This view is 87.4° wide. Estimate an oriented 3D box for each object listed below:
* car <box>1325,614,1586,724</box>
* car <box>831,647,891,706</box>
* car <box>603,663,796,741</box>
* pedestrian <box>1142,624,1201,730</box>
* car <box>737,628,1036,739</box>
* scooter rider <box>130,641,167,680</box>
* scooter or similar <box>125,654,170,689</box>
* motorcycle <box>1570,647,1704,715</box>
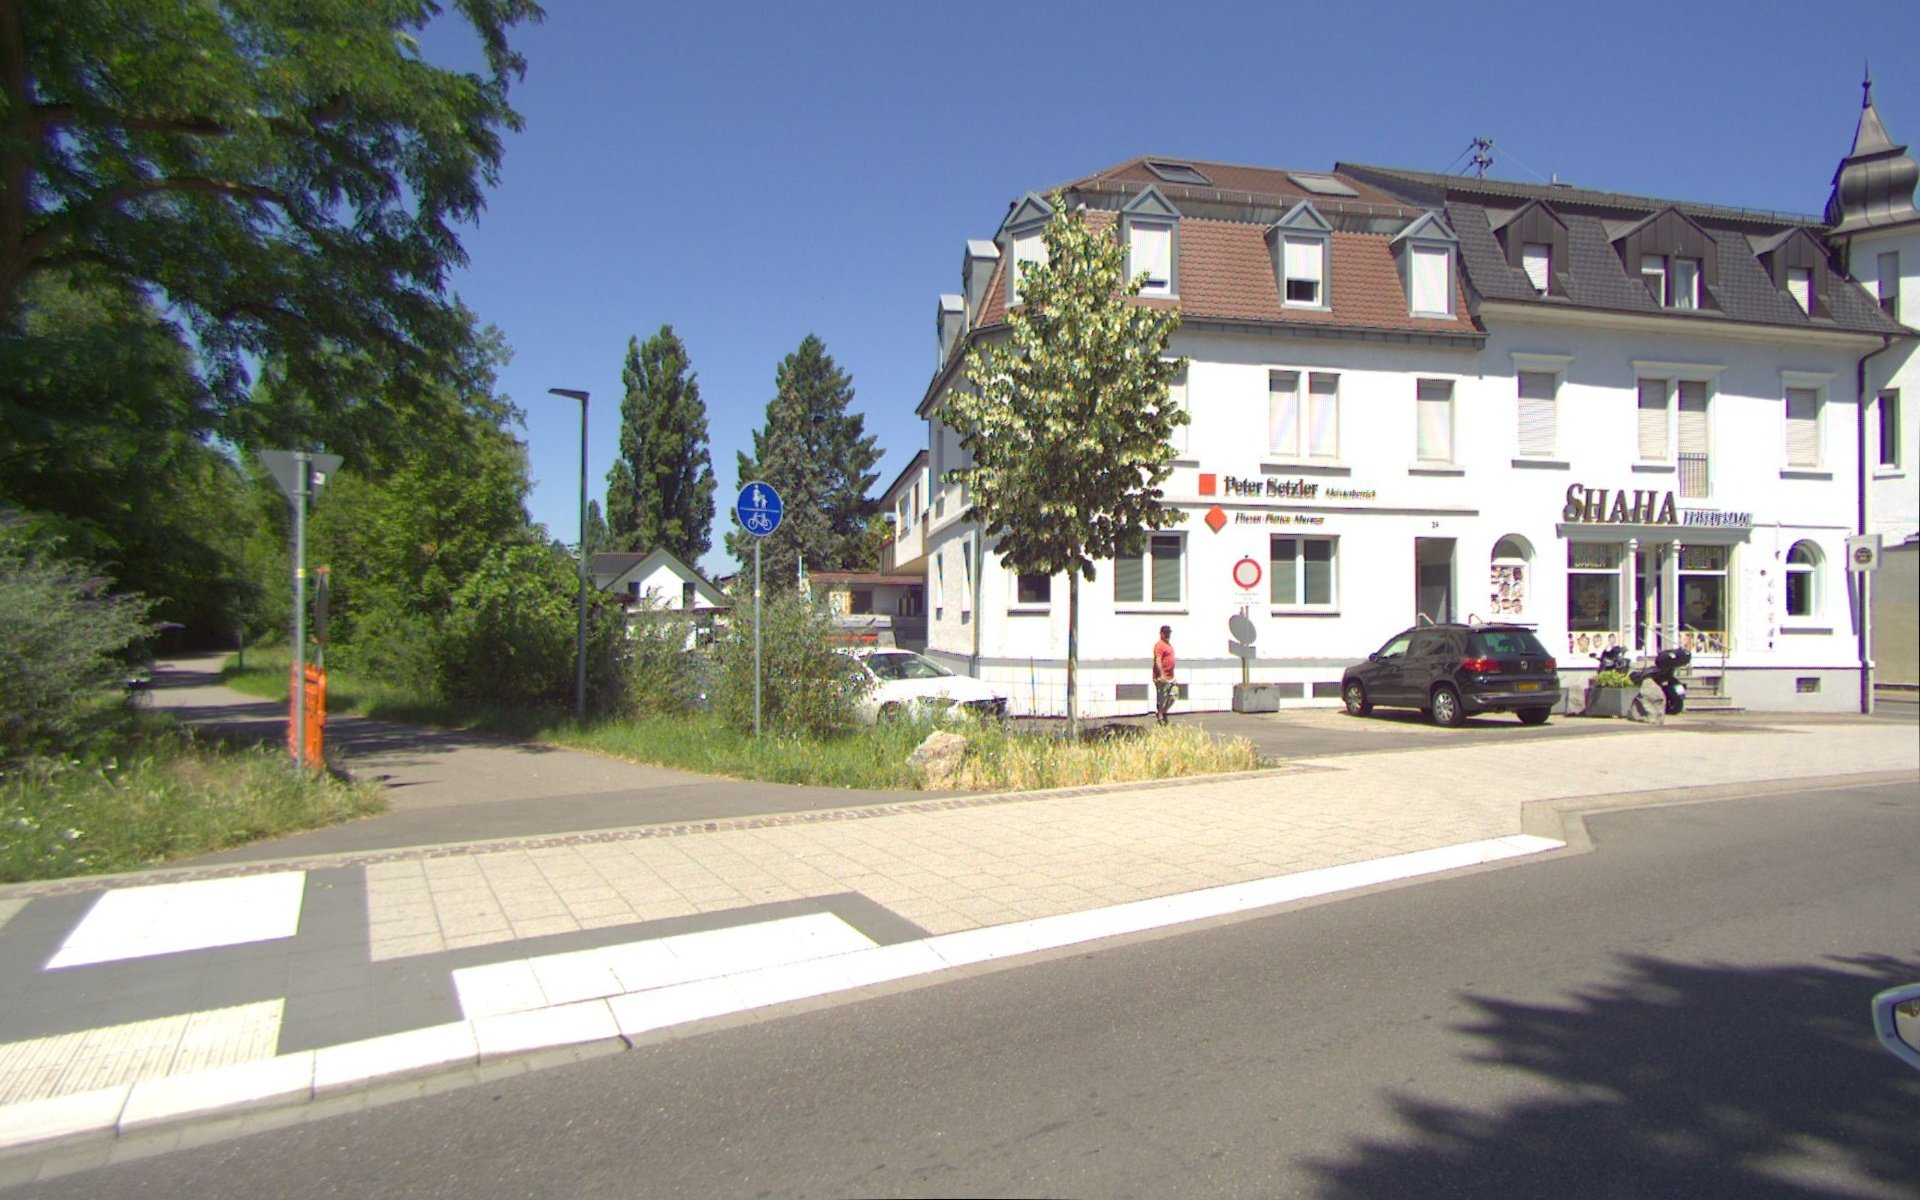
[{"bbox_3d":[8.474,1.124,17.651,1.937,1.684,4.184,1,-2,-13],"label":"car"},{"bbox_3d":[-3.653,2.720,36.481,1.736,1.917,3.992,1,-1,-12],"label":"car"},{"bbox_3d":[-5.202,1.959,19.814,1.988,1.362,3.948,4,-6,-45],"label":"car"},{"bbox_3d":[3.683,1.326,17.483,0.727,1.777,0.734,-3,-4,45],"label":"pedestrian"},{"bbox_3d":[-1.251,1.139,15.163,1.987,1.374,4.646,2,-2,-45],"label":"car"},{"bbox_3d":[-23.524,1.745,29.128,0.797,1.065,0.909,1,0,-42],"label":"scooter rider"},{"bbox_3d":[-23.544,2.064,29.101,0.912,0.936,1.605,2,-2,-42],"label":"scooter or similar"},{"bbox_3d":[13.683,1.607,20.407,0.818,1.233,2.398,2,-2,-10],"label":"motorcycle"}]
